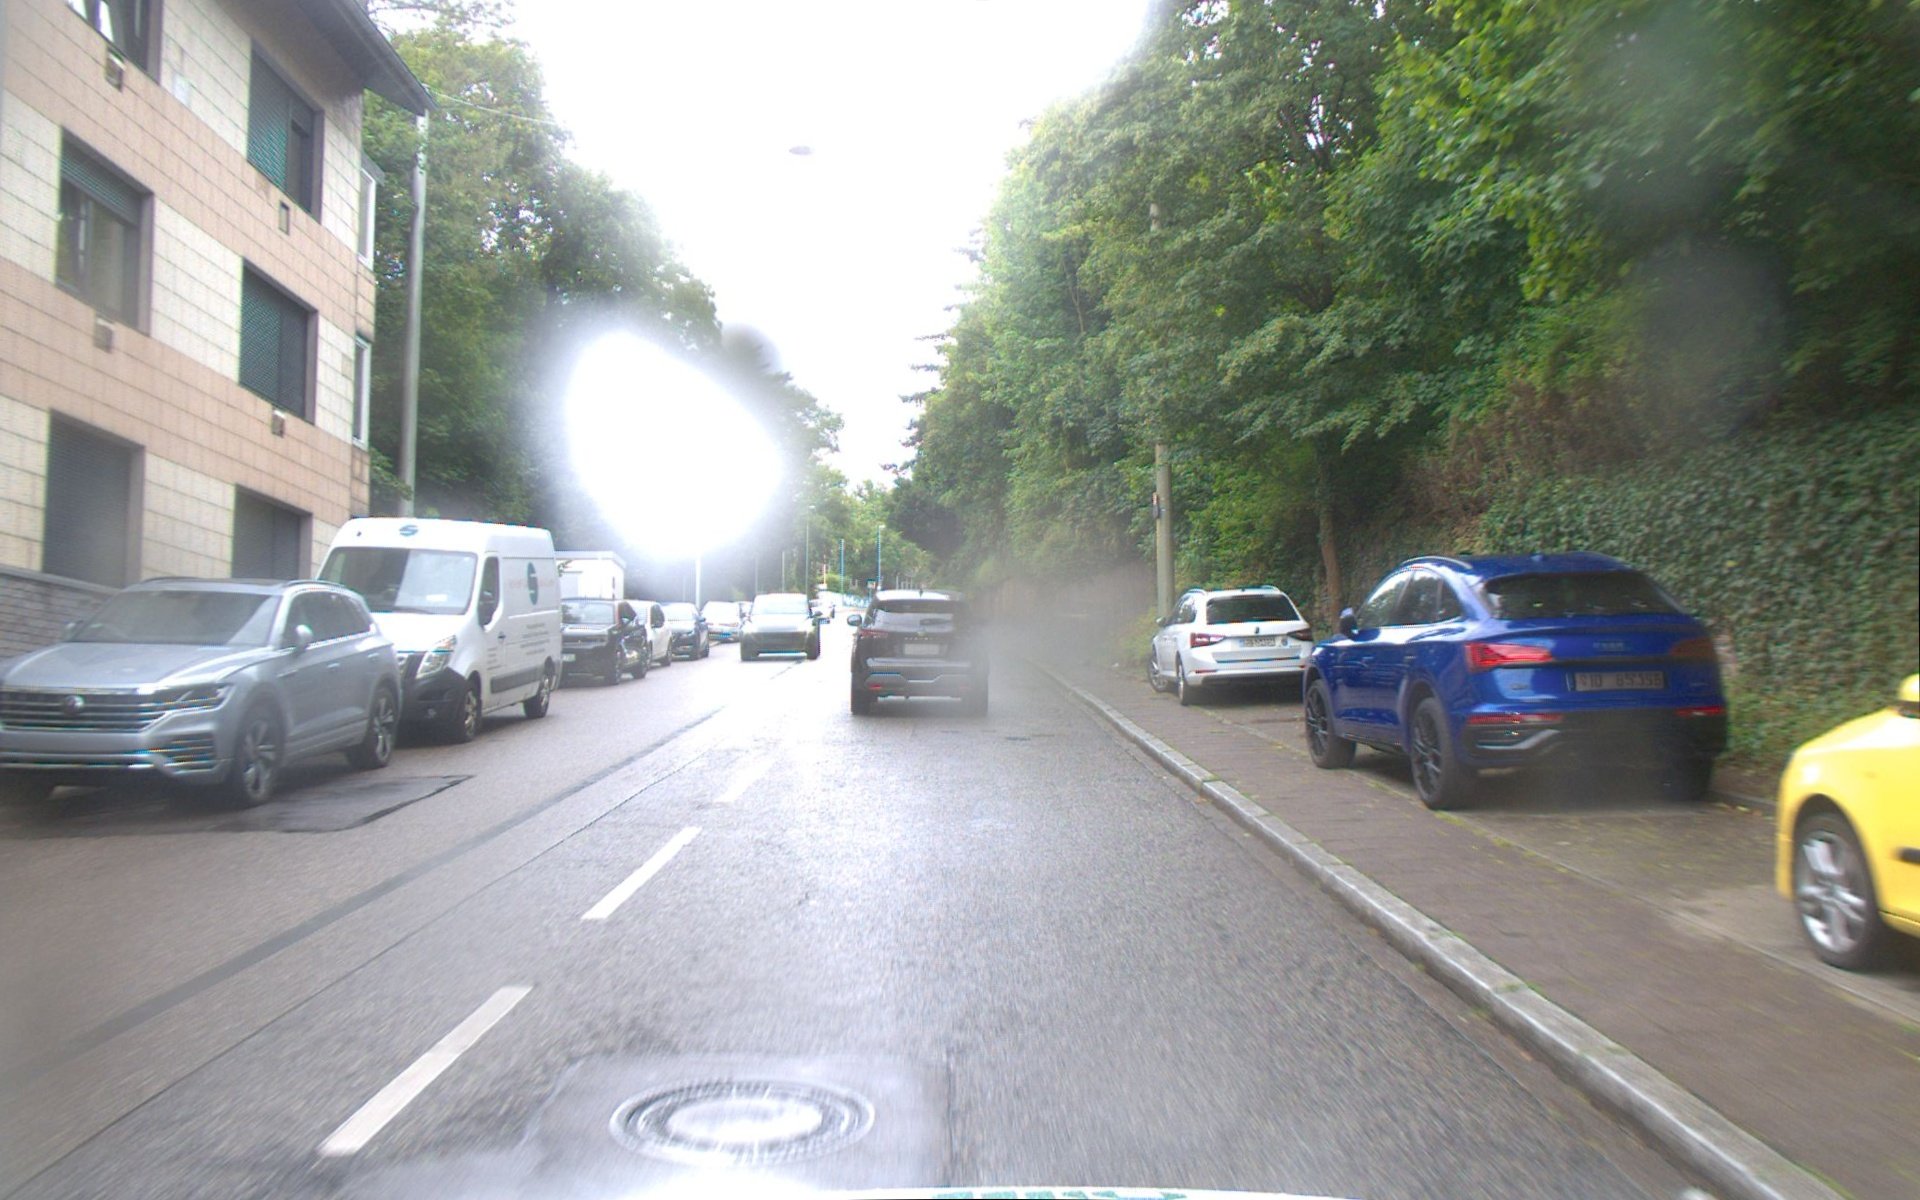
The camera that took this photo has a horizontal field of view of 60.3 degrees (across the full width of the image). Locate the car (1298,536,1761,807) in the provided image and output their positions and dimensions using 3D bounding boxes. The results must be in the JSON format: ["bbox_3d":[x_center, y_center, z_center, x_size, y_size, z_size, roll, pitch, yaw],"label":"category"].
[{"bbox_3d":[3.900,0.429,12.210,1.774,1.556,4.416,-2,0,-1],"label":"car"}]

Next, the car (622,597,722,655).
[{"bbox_3d":[-7.536,0.644,43.639,1.950,1.408,4.456,-1,0,-2],"label":"car"}]

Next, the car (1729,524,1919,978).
[{"bbox_3d":[4.094,0.532,5.089,1.599,1.557,4.000,1,0,0],"label":"car"}]

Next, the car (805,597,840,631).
[{"bbox_3d":[-8.584,0.883,103.573,1.953,1.982,3.997,1,-2,-3],"label":"car"}]

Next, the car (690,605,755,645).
[{"bbox_3d":[-9.175,0.945,64.206,1.950,1.408,4.456,-1,0,-2],"label":"car"}]

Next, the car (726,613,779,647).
[{"bbox_3d":[-9.386,1.325,75.202,1.950,1.408,4.456,-1,0,-2],"label":"car"}]

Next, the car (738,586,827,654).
[{"bbox_3d":[-4.426,0.463,41.846,1.953,1.586,3.998,1,1,-2],"label":"car"}]

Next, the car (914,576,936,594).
[{"bbox_3d":[-3.461,-1.476,165.141,1.952,1.587,4.000,-1,-2,1],"label":"car"}]

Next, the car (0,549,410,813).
[{"bbox_3d":[-6.186,0.538,13.550,1.950,1.786,4.478,-1,0,-2],"label":"car"}]

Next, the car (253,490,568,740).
[{"bbox_3d":[-6.273,0.125,19.722,1.950,2.518,5.782,-1,0,-2],"label":"car"}]

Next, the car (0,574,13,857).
[{"bbox_3d":[-6.402,0.689,7.378,1.950,1.613,4.304,-1,0,-2],"label":"car"}]

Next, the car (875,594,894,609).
[{"bbox_3d":[-8.460,0.160,185.365,2.033,1.587,3.998,0,0,-2],"label":"car"}]

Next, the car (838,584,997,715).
[{"bbox_3d":[-0.549,0.593,22.587,1.953,1.586,4.000,1,1,-1],"label":"car"}]

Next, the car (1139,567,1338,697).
[{"bbox_3d":[3.758,0.405,23.053,1.775,1.556,4.414,-2,0,-3],"label":"car"}]

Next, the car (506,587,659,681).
[{"bbox_3d":[-6.972,0.576,31.003,1.950,1.594,4.456,-1,0,-2],"label":"car"}]

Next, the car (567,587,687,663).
[{"bbox_3d":[-7.535,0.518,37.825,1.950,1.594,4.456,-1,0,-2],"label":"car"}]
